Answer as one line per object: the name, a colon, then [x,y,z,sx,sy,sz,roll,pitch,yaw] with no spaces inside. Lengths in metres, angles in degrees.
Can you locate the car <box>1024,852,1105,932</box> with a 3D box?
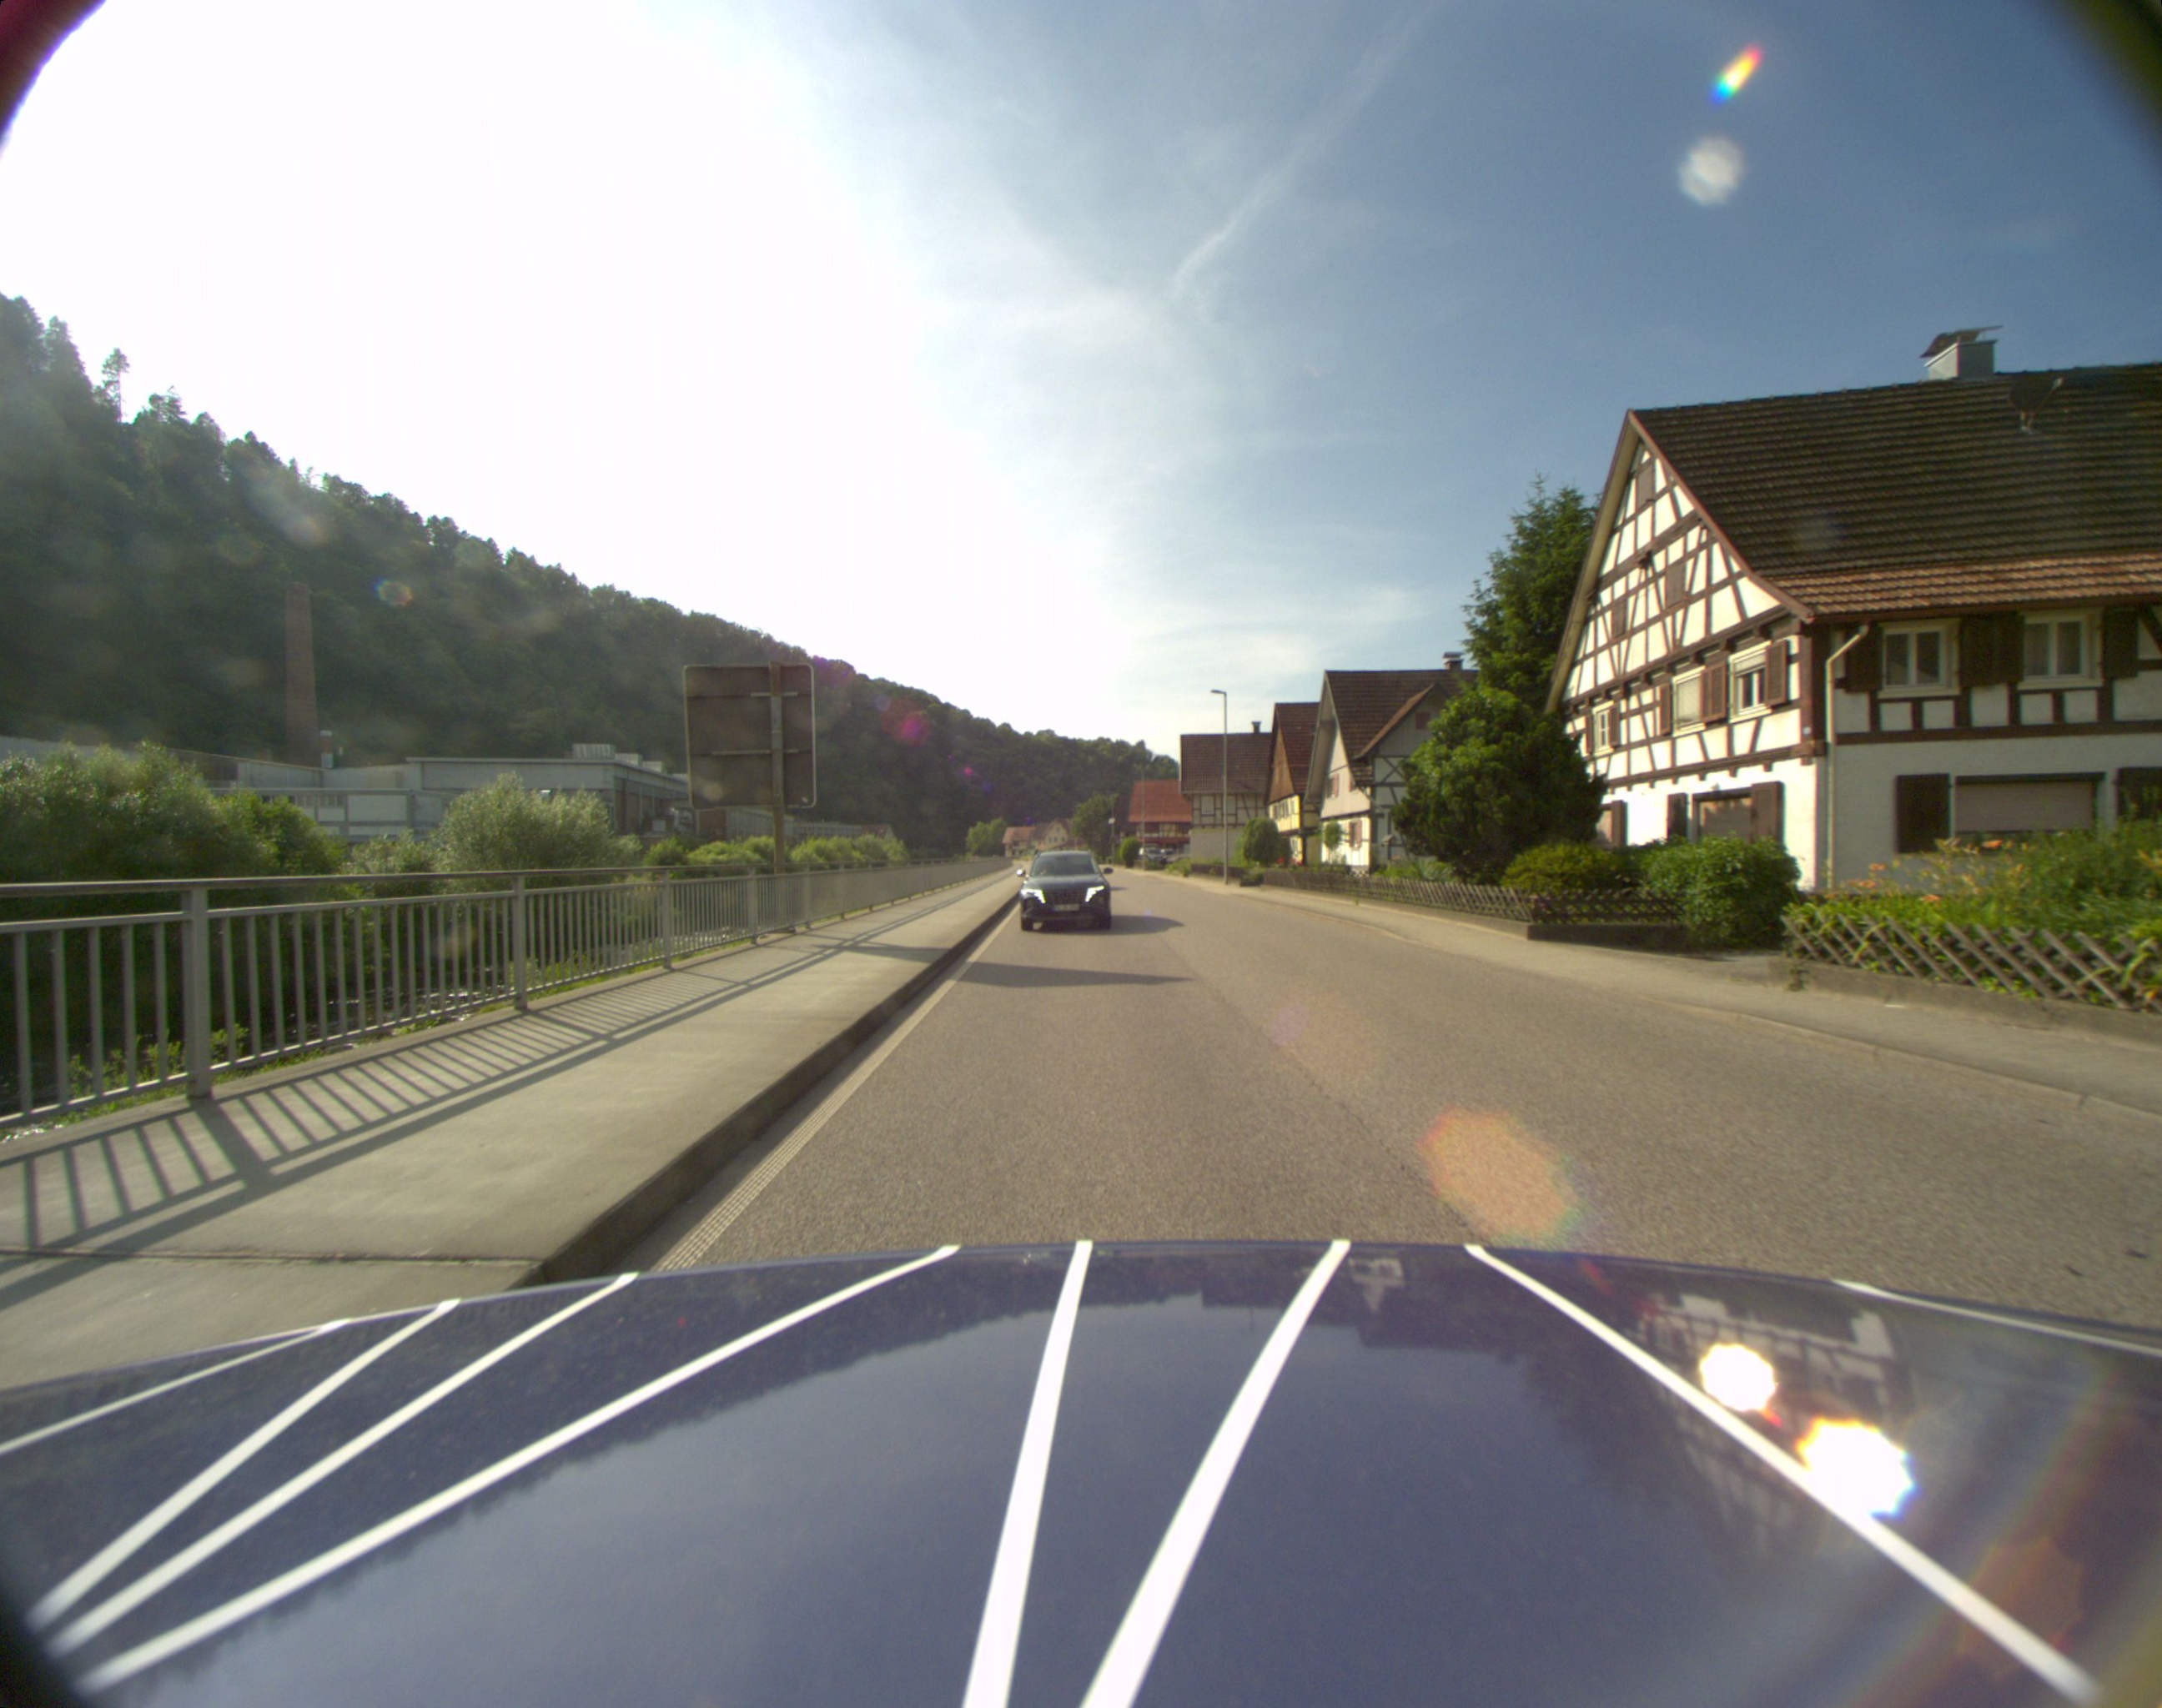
car: [-0.481,0.802,18.079,1.649,1.639,3.998,-2,0,-4]
